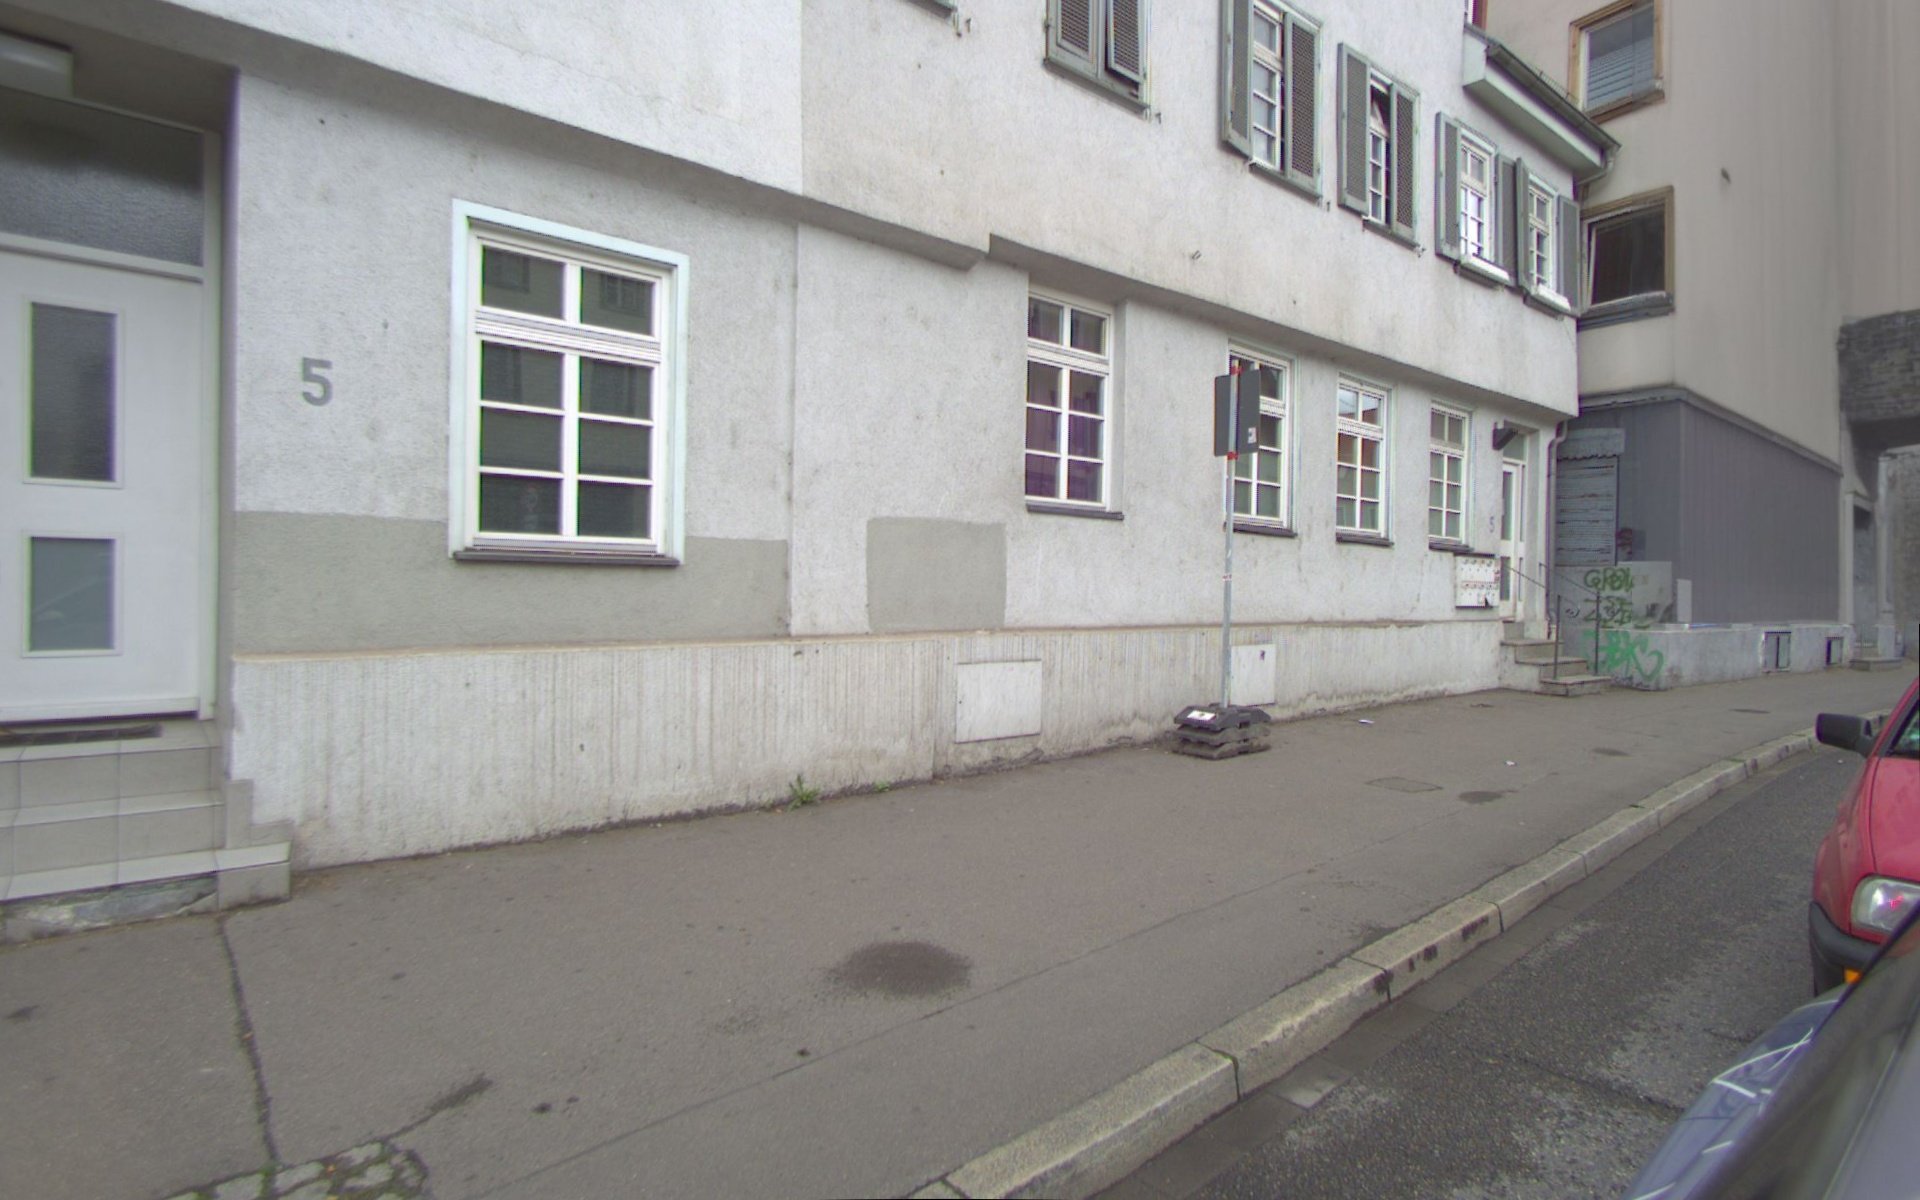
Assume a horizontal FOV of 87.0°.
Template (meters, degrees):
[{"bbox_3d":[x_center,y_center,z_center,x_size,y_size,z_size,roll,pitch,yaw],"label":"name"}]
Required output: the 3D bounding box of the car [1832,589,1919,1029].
[{"bbox_3d":[5.056,0.704,4.143,3.950,1.445,1.684,0,1,-41],"label":"car"}]
